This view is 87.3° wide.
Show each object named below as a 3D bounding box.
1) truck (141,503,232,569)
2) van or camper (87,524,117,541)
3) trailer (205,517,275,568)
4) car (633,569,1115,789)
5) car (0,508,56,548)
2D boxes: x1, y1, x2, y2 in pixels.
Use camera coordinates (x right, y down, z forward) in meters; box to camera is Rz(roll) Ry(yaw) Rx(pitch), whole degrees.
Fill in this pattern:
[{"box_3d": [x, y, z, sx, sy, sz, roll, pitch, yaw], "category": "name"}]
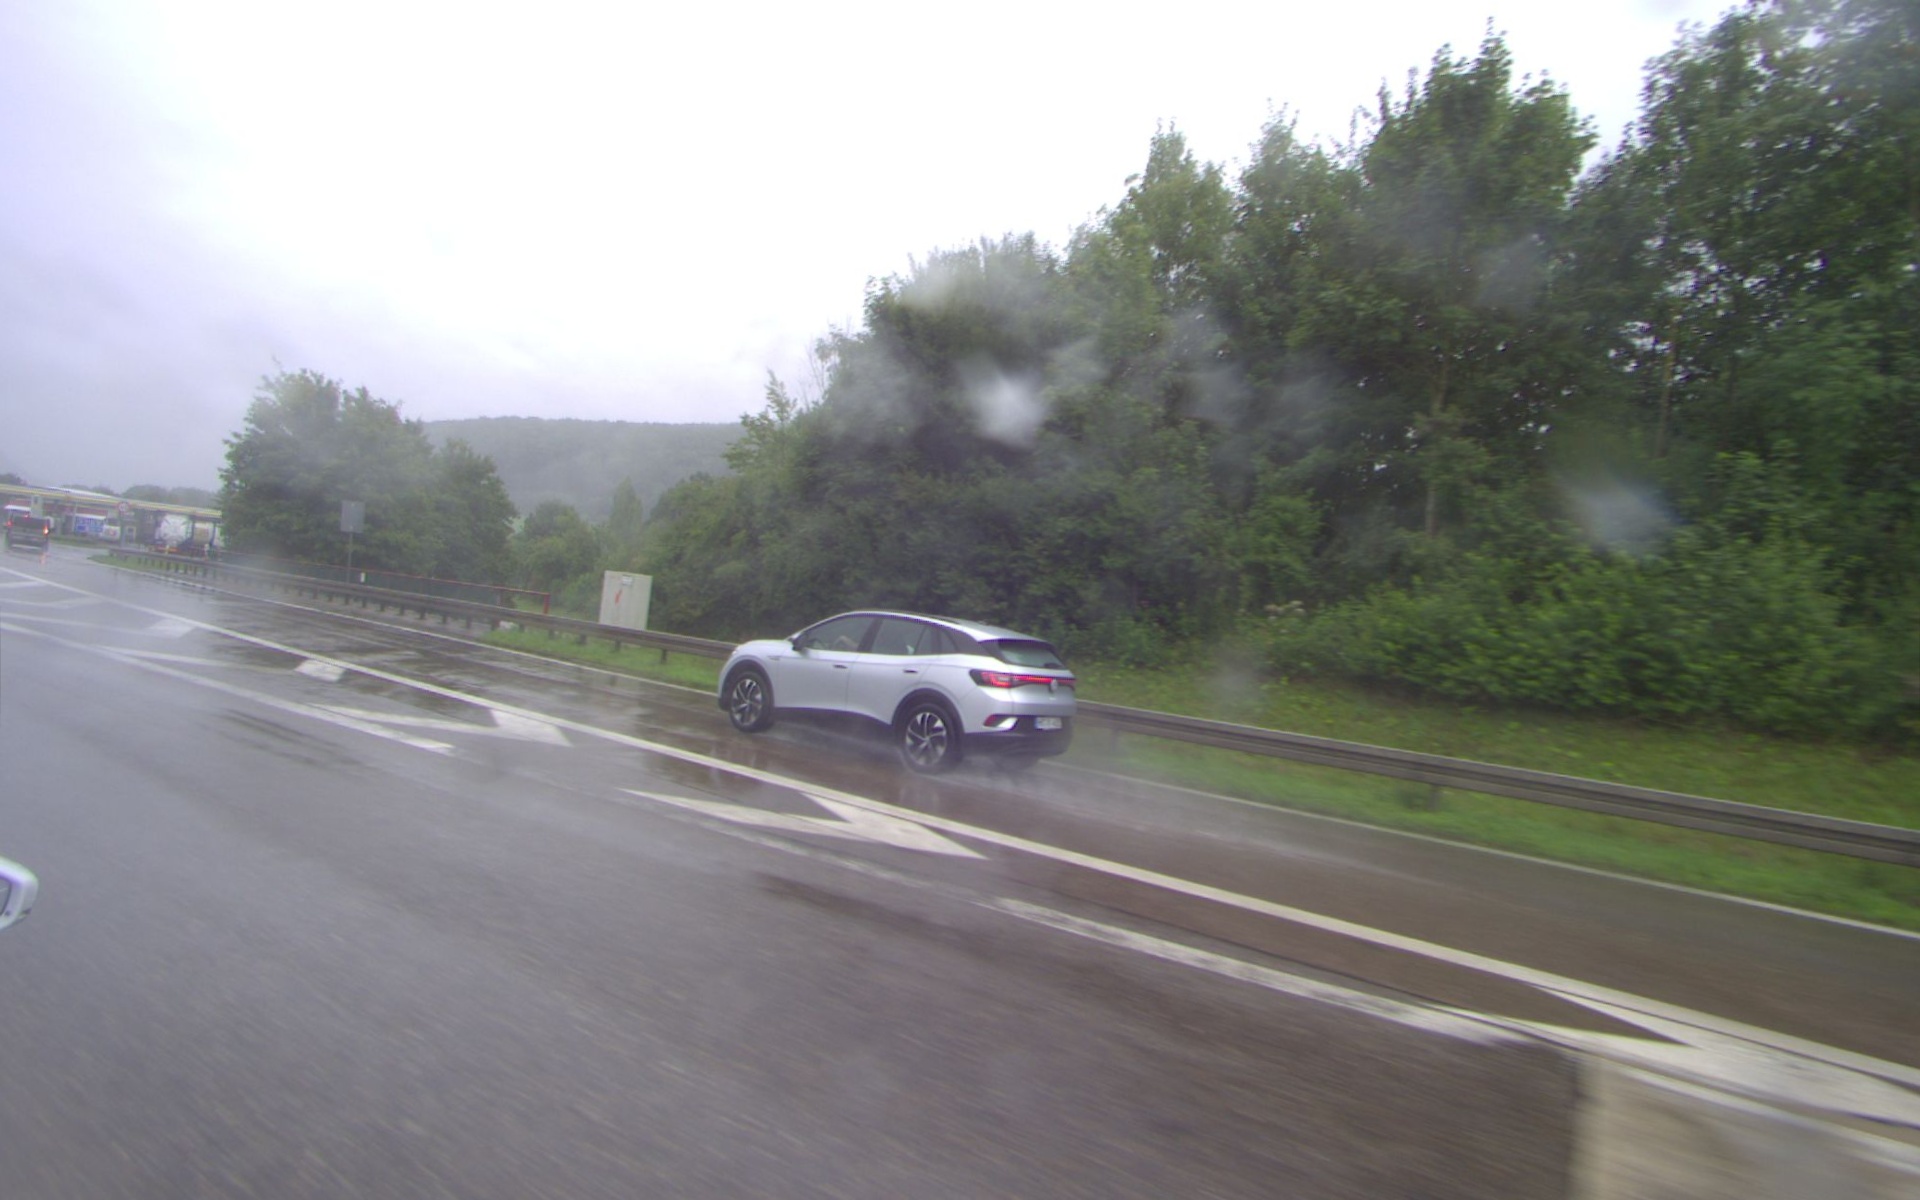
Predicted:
[{"box_3d": [-60.810, -4.843, 79.432, 2.844, 4.305, 11.806, 7, -2, -25], "category": "truck"}, {"box_3d": [-120.340, -9.470, 141.132, 3.934, 2.037, 1.997, 5, -2, 32], "category": "van or camper"}, {"box_3d": [-68.046, -5.302, 95.392, 2.758, 3.945, 11.688, 7, -2, -24], "category": "trailer"}, {"box_3d": [-1.205, 0.781, 11.819, 5.576, 1.771, 1.995, 5, -2, 36], "category": "car"}, {"box_3d": [-56.219, -4.348, 60.488, 4.983, 2.038, 1.992, 5, -1, 40], "category": "car"}]
